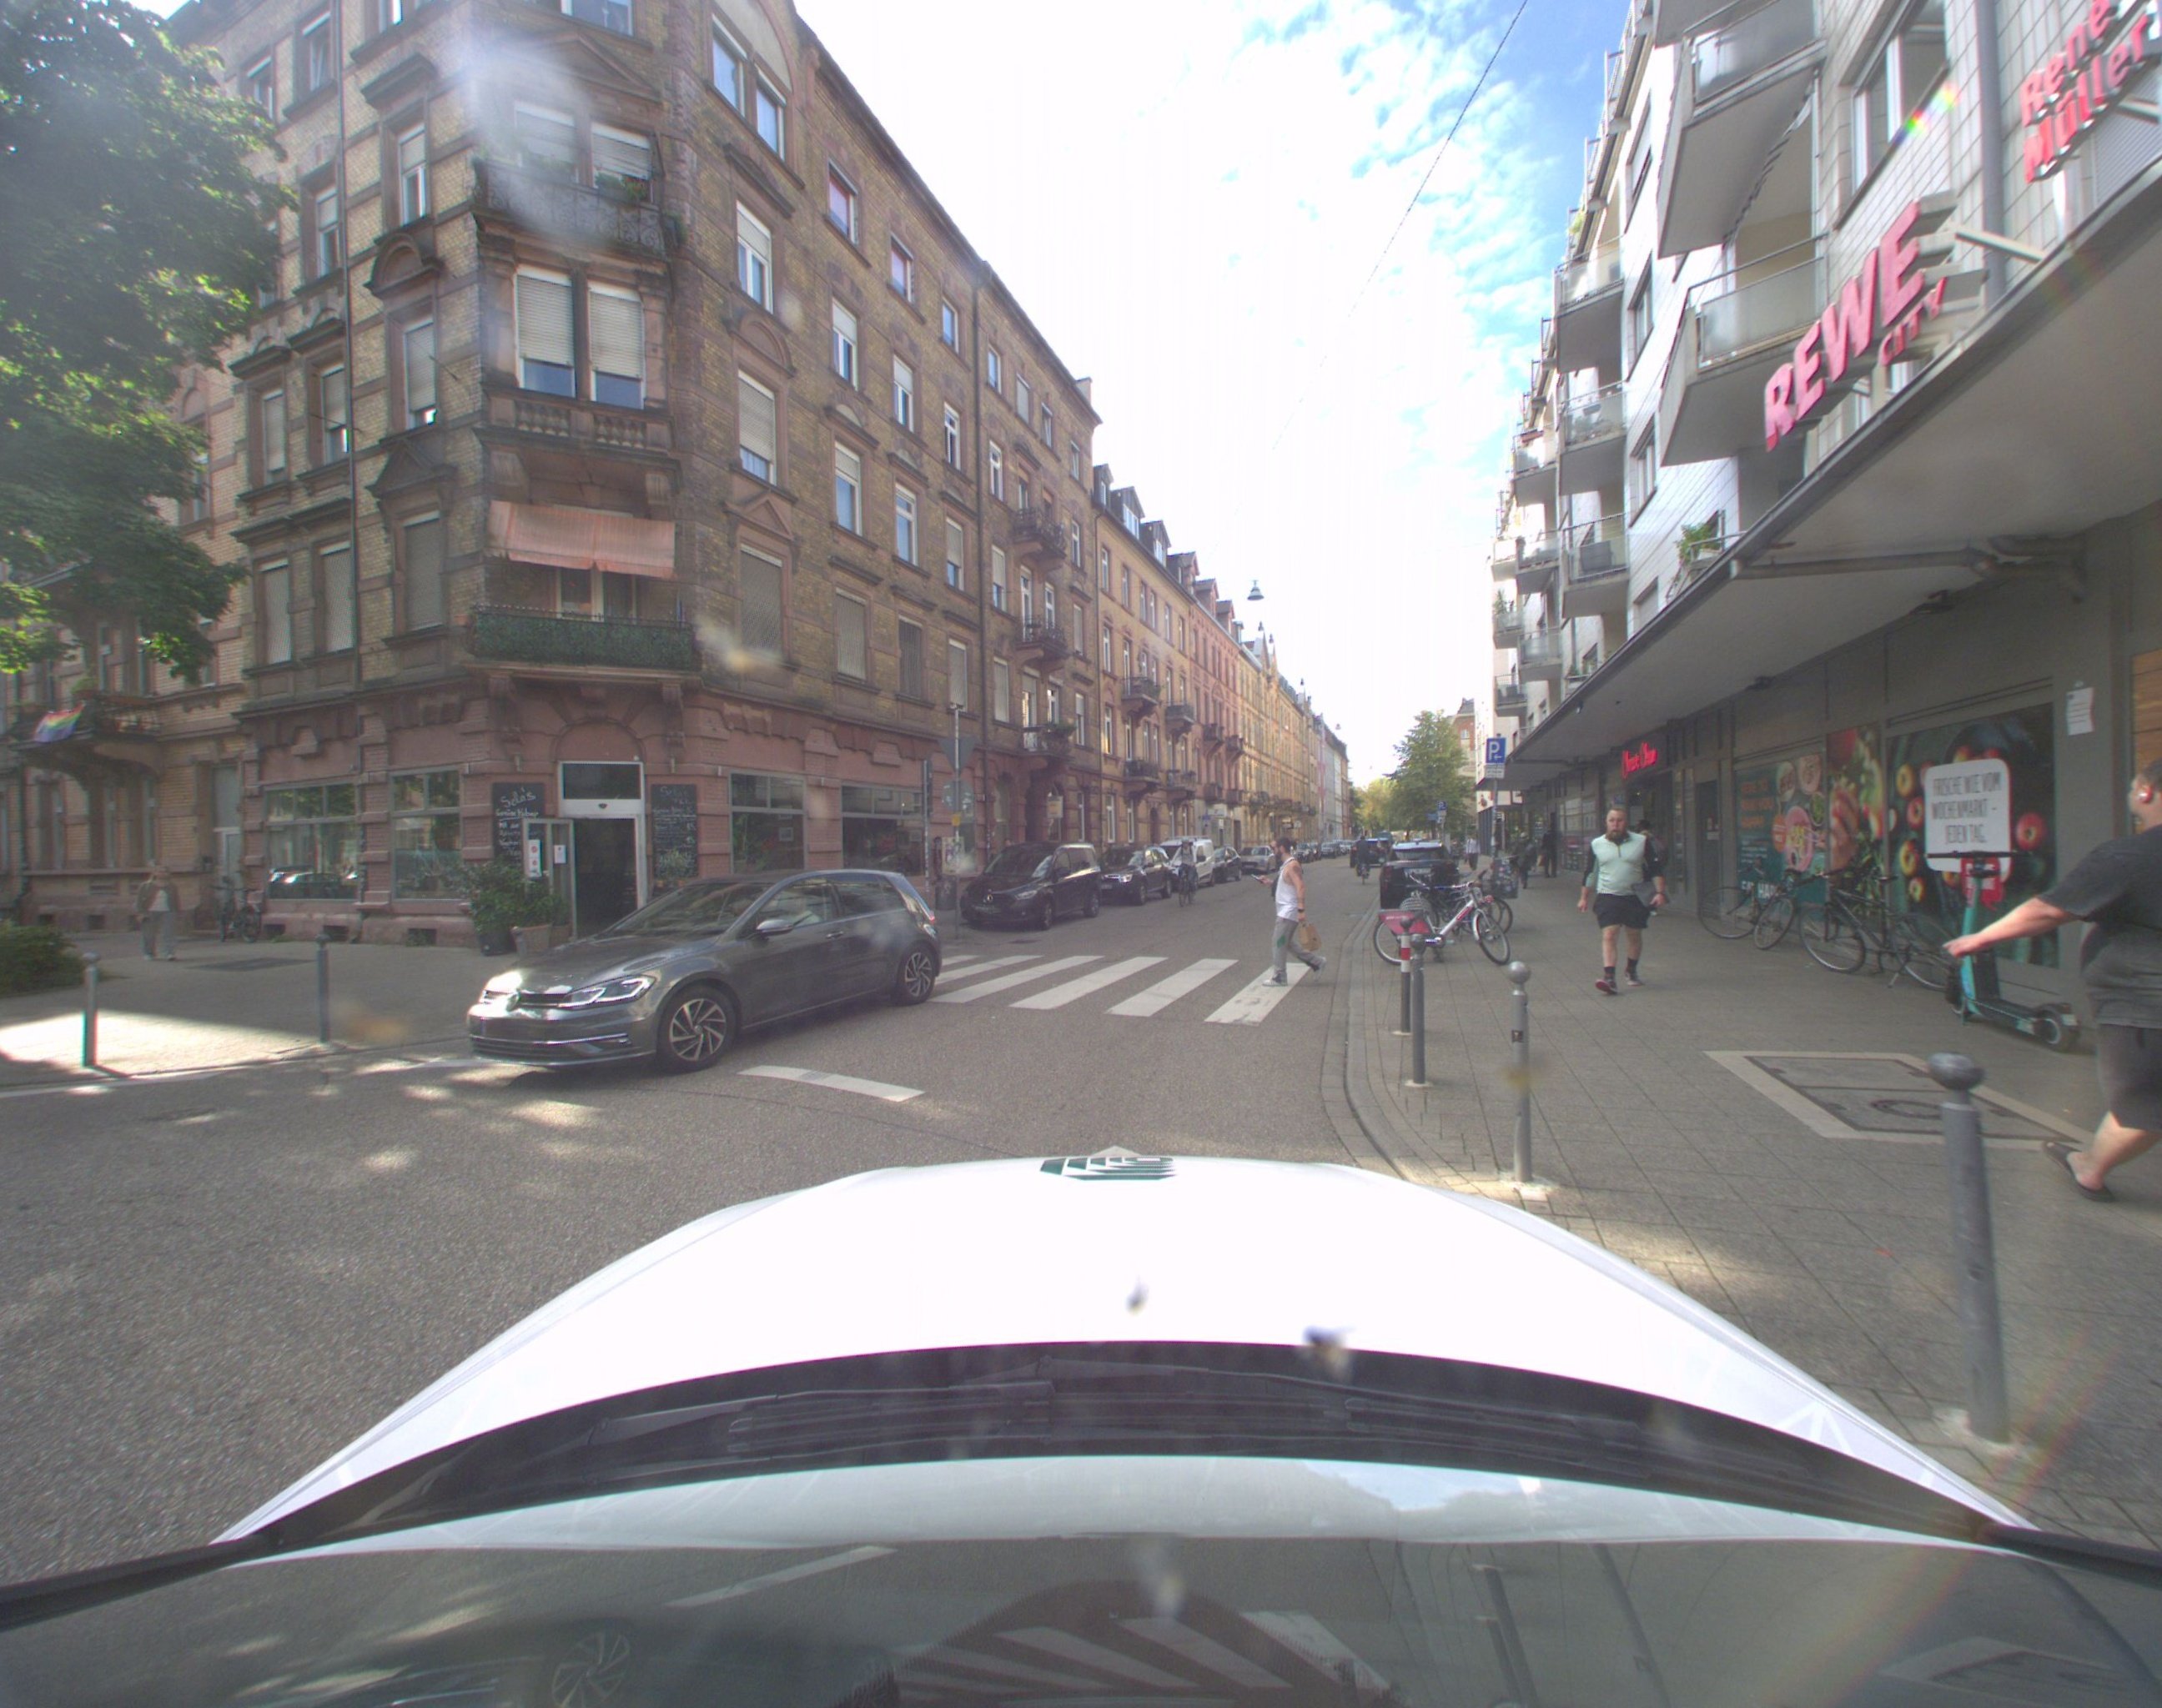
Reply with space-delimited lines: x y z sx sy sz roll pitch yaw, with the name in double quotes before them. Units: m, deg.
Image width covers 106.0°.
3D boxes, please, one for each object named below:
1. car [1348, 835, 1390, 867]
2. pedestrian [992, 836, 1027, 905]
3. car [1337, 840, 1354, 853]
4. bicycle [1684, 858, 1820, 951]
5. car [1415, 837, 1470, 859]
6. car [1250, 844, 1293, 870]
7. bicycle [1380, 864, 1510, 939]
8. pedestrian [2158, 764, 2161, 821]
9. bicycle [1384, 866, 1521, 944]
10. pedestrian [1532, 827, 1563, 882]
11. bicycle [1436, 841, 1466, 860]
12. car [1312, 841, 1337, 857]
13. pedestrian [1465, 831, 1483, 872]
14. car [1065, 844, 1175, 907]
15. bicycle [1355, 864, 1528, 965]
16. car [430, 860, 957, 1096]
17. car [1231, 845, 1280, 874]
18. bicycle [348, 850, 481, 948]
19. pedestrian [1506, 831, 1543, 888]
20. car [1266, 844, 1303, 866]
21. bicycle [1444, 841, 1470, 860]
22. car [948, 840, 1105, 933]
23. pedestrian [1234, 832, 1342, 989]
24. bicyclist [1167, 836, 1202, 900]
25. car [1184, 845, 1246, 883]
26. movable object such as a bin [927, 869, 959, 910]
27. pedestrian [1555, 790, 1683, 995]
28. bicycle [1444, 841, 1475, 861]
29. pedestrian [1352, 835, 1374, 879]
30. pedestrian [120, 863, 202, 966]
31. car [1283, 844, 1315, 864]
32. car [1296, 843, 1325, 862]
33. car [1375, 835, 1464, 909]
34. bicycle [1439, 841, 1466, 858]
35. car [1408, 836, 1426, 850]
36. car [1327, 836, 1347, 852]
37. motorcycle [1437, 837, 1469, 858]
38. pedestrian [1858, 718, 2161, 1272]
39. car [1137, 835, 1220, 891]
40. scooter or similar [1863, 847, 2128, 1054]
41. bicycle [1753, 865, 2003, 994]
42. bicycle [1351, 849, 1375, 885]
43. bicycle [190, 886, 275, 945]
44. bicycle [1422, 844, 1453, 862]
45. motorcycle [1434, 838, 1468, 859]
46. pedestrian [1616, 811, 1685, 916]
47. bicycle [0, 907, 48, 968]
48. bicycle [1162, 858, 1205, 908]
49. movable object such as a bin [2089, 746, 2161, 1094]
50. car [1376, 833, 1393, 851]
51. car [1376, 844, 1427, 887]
"car" 16.390 -0.166 46.261 1.947 1.740 4.064 0 0 23
"pedestrian" -1.972 0.433 22.478 0.671 1.840 0.861 1 1 17
"car" 31.727 -0.922 97.766 1.675 1.550 3.888 0 1 22
"bicycle" 8.405 0.596 10.300 0.735 1.015 1.792 -4 -1 21
"car" 28.958 -0.498 65.355 3.734 1.546 1.737 -3 -1 12
"car" 11.145 0.148 47.447 1.726 1.483 4.006 1 1 24
"bicycle" 5.787 0.761 13.028 1.775 1.070 0.589 -3 0 12
"pedestrian" 4.653 0.435 2.857 0.716 1.632 0.716 -4 0 20
"bicycle" 5.631 0.770 12.435 1.775 1.070 0.571 -3 0 12
"pedestrian" 16.066 0.018 28.069 0.648 1.860 0.701 -1 0 -38
"bicycle" 24.693 -0.233 54.355 1.758 1.146 0.412 -4 0 2
"car" 22.418 -0.478 74.997 1.675 1.369 3.889 4 2 23
"pedestrian" 17.005 -0.114 35.267 0.606 1.726 1.133 -2 1 24
"car" 1.255 0.554 23.915 1.976 1.638 4.167 -1 1 22
"bicycle" 4.506 0.755 10.319 1.866 1.125 0.912 -4 0 20
"car" -2.998 0.824 7.292 1.775 1.438 4.023 -3 -1 24
"car" 9.270 0.255 43.024 1.726 1.483 4.006 1 1 24
"bicycle" -10.888 0.725 13.301 2.140 1.521 0.559 -1 0 17
"pedestrian" 12.721 0.144 23.384 0.816 1.588 0.785 -2 0 24
"car" 13.003 0.043 51.957 1.675 1.386 3.889 1 1 24
"bicycle" 24.568 -0.228 53.273 1.482 1.146 0.414 -4 0 23
"car" -1.040 0.581 18.131 1.745 1.773 4.429 1 1 22
"pedestrian" 2.367 0.609 9.258 1.010 1.671 0.809 -2 -1 25
"bicyclist" 2.825 0.371 22.159 0.695 1.677 1.118 -2 0 18
"car" 5.738 0.382 34.584 1.726 1.483 4.005 1 1 22
"movable object such as a bin" -2.512 0.638 14.865 0.380 0.714 0.478 0 1 18
"pedestrian" 5.187 0.354 7.932 0.875 1.834 1.053 -4 -1 30
"bicycle" 23.944 -0.207 51.539 1.749 1.162 0.654 -4 0 25
"pedestrian" 10.650 0.098 30.707 0.711 1.650 0.935 0 1 23
"pedestrian" -15.064 0.971 13.341 0.799 1.577 0.619 0 4 28
"car" 16.047 -0.011 59.831 1.675 1.386 3.889 1 1 24
"car" 18.519 -0.155 65.646 1.675 1.437 3.889 1 1 24
"car" 8.485 0.388 20.405 1.776 1.605 3.946 -4 0 23
"bicycle" 26.667 -0.332 58.444 1.716 1.159 0.503 -4 0 24
"car" 39.971 -1.356 96.831 1.913 1.638 4.022 0 1 23
"car" 27.238 -1.094 86.589 1.675 1.550 3.888 0 2 22
"motorcycle" 28.789 -0.492 62.971 2.130 1.530 0.690 -4 0 27
"pedestrian" 3.824 0.420 3.028 0.843 1.747 1.052 -4 0 12
"car" 3.650 0.269 29.750 1.903 1.871 4.461 -1 1 22
"scooter or similar" 6.097 0.585 5.531 0.626 1.213 1.262 -4 0 20
"bicycle" 7.309 0.633 7.610 0.673 1.043 1.735 -2 -1 3
"bicycle" 10.635 0.480 30.666 0.711 1.274 1.894 0 1 24
"bicycle" -16.421 1.170 15.759 1.761 1.067 0.531 0 0 23
"bicycle" 22.933 -0.087 52.401 1.751 1.057 0.413 -4 0 17
"motorcycle" 27.352 -0.415 60.221 2.130 1.435 0.770 -4 0 27
"pedestrian" 9.898 0.158 14.196 0.707 1.747 0.821 -4 0 20
"bicycle" -19.193 1.450 14.276 2.054 0.968 0.594 -1 2 17
"bicycle" 2.792 0.763 22.022 0.695 1.220 2.127 -2 0 18
"movable object such as a bin" 5.484 0.337 3.206 0.773 1.744 2.436 -1 0 21
"car" 35.744 -1.427 95.988 1.767 2.019 3.909 0 1 22
"car" 12.249 0.388 30.978 1.581 1.439 4.053 -2 0 24
